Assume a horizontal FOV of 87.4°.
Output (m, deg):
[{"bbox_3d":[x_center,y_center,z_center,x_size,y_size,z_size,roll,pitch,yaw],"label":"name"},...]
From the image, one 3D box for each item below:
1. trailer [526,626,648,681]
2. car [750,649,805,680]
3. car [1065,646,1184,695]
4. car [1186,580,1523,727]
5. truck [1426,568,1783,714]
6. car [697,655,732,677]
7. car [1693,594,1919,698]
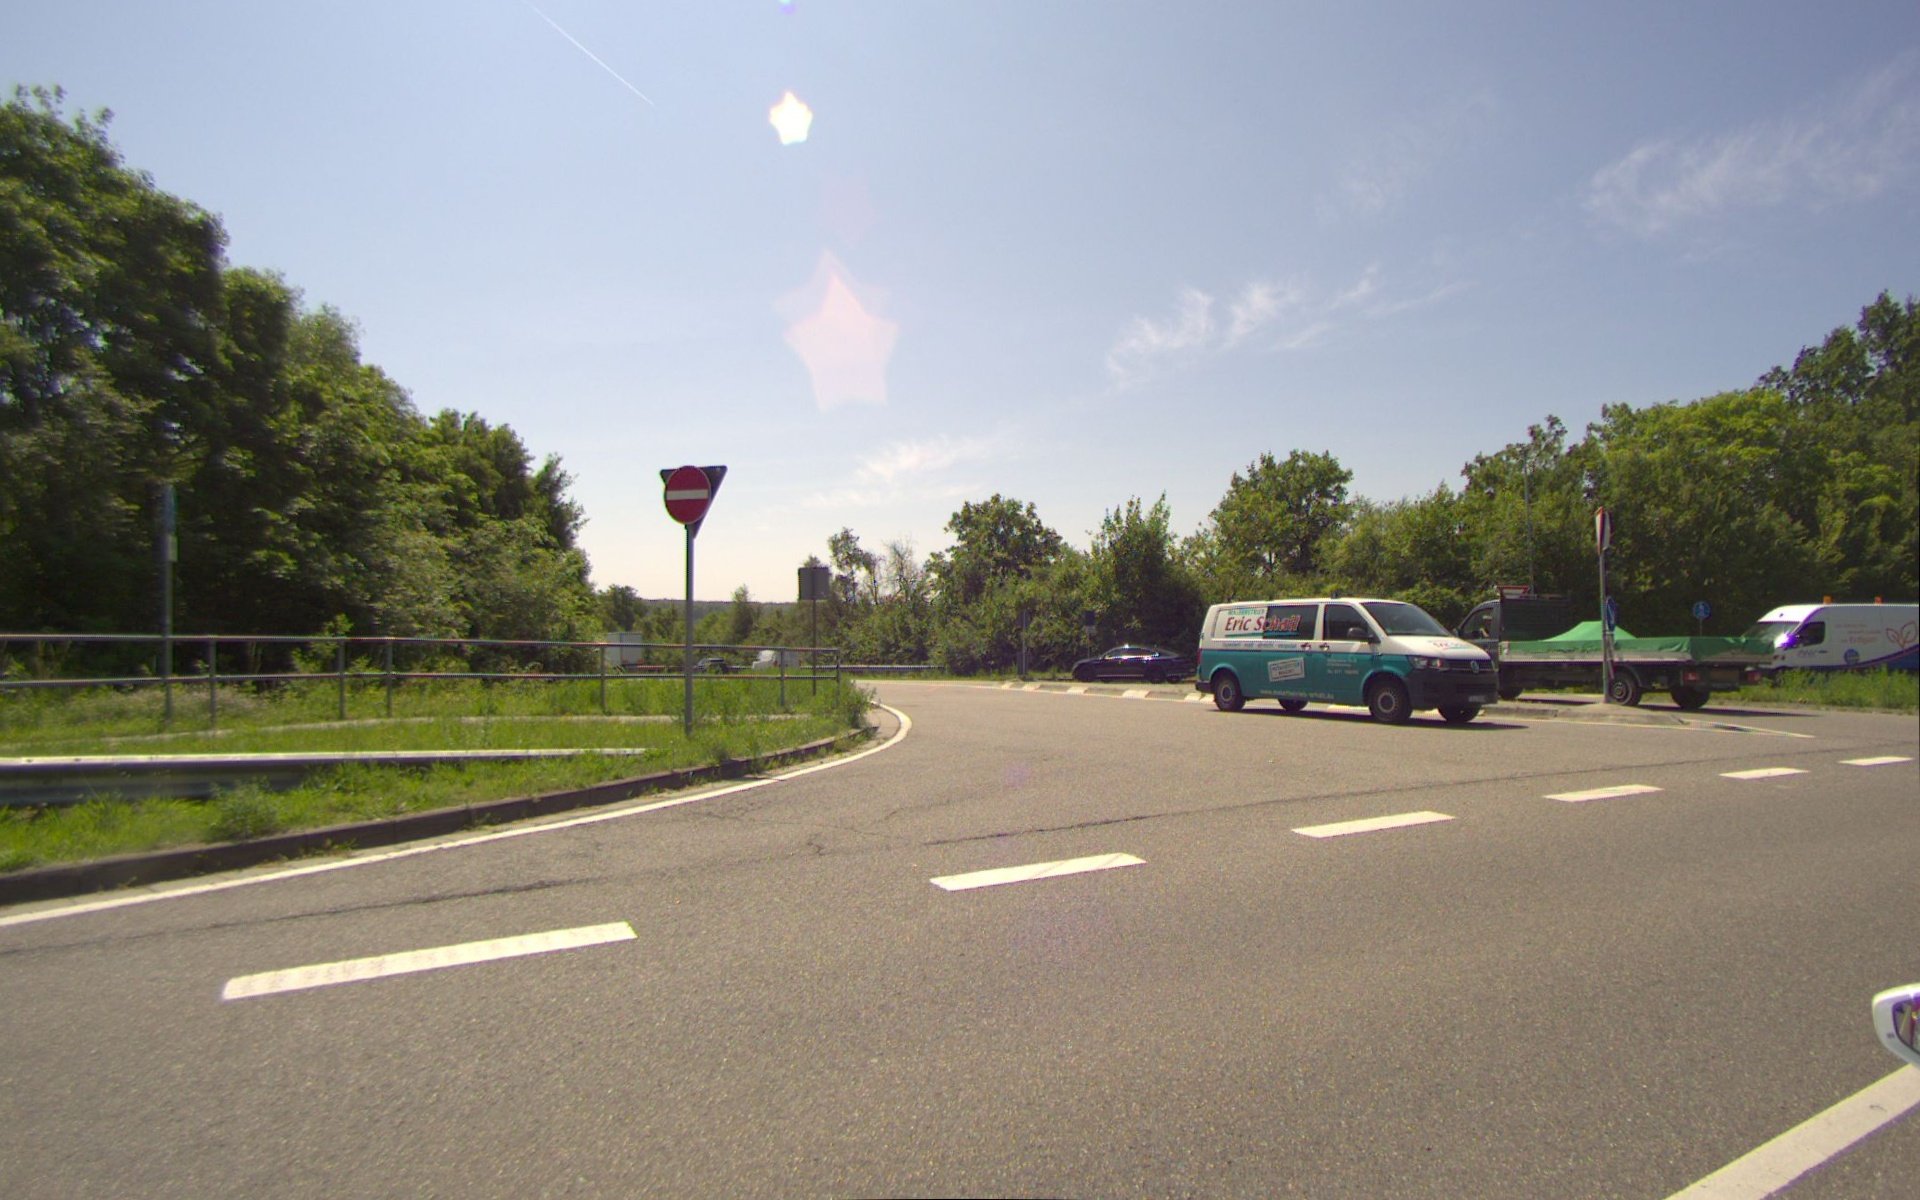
[{"bbox_3d":[-34.618,4.803,92.845,13.554,4.333,2.991,1,0,33],"label":"trailer"},{"bbox_3d":[-12.006,4.246,65.715,1.992,1.948,5.156,1,-4,-29],"label":"car"},{"bbox_3d":[5.955,2.578,36.488,3.936,1.683,1.672,-4,-6,36],"label":"car"},{"bbox_3d":[6.284,0.922,16.785,1.975,2.054,5.151,1,-4,-28],"label":"car"},{"bbox_3d":[13.194,0.913,21.366,2.111,2.598,6.617,1,-3,-17],"label":"truck"},{"bbox_3d":[-19.328,5.222,78.901,1.749,1.616,3.901,1,-5,-29],"label":"car"},{"bbox_3d":[25.650,1.347,30.044,5.893,2.888,2.112,1,0,0],"label":"car"}]
